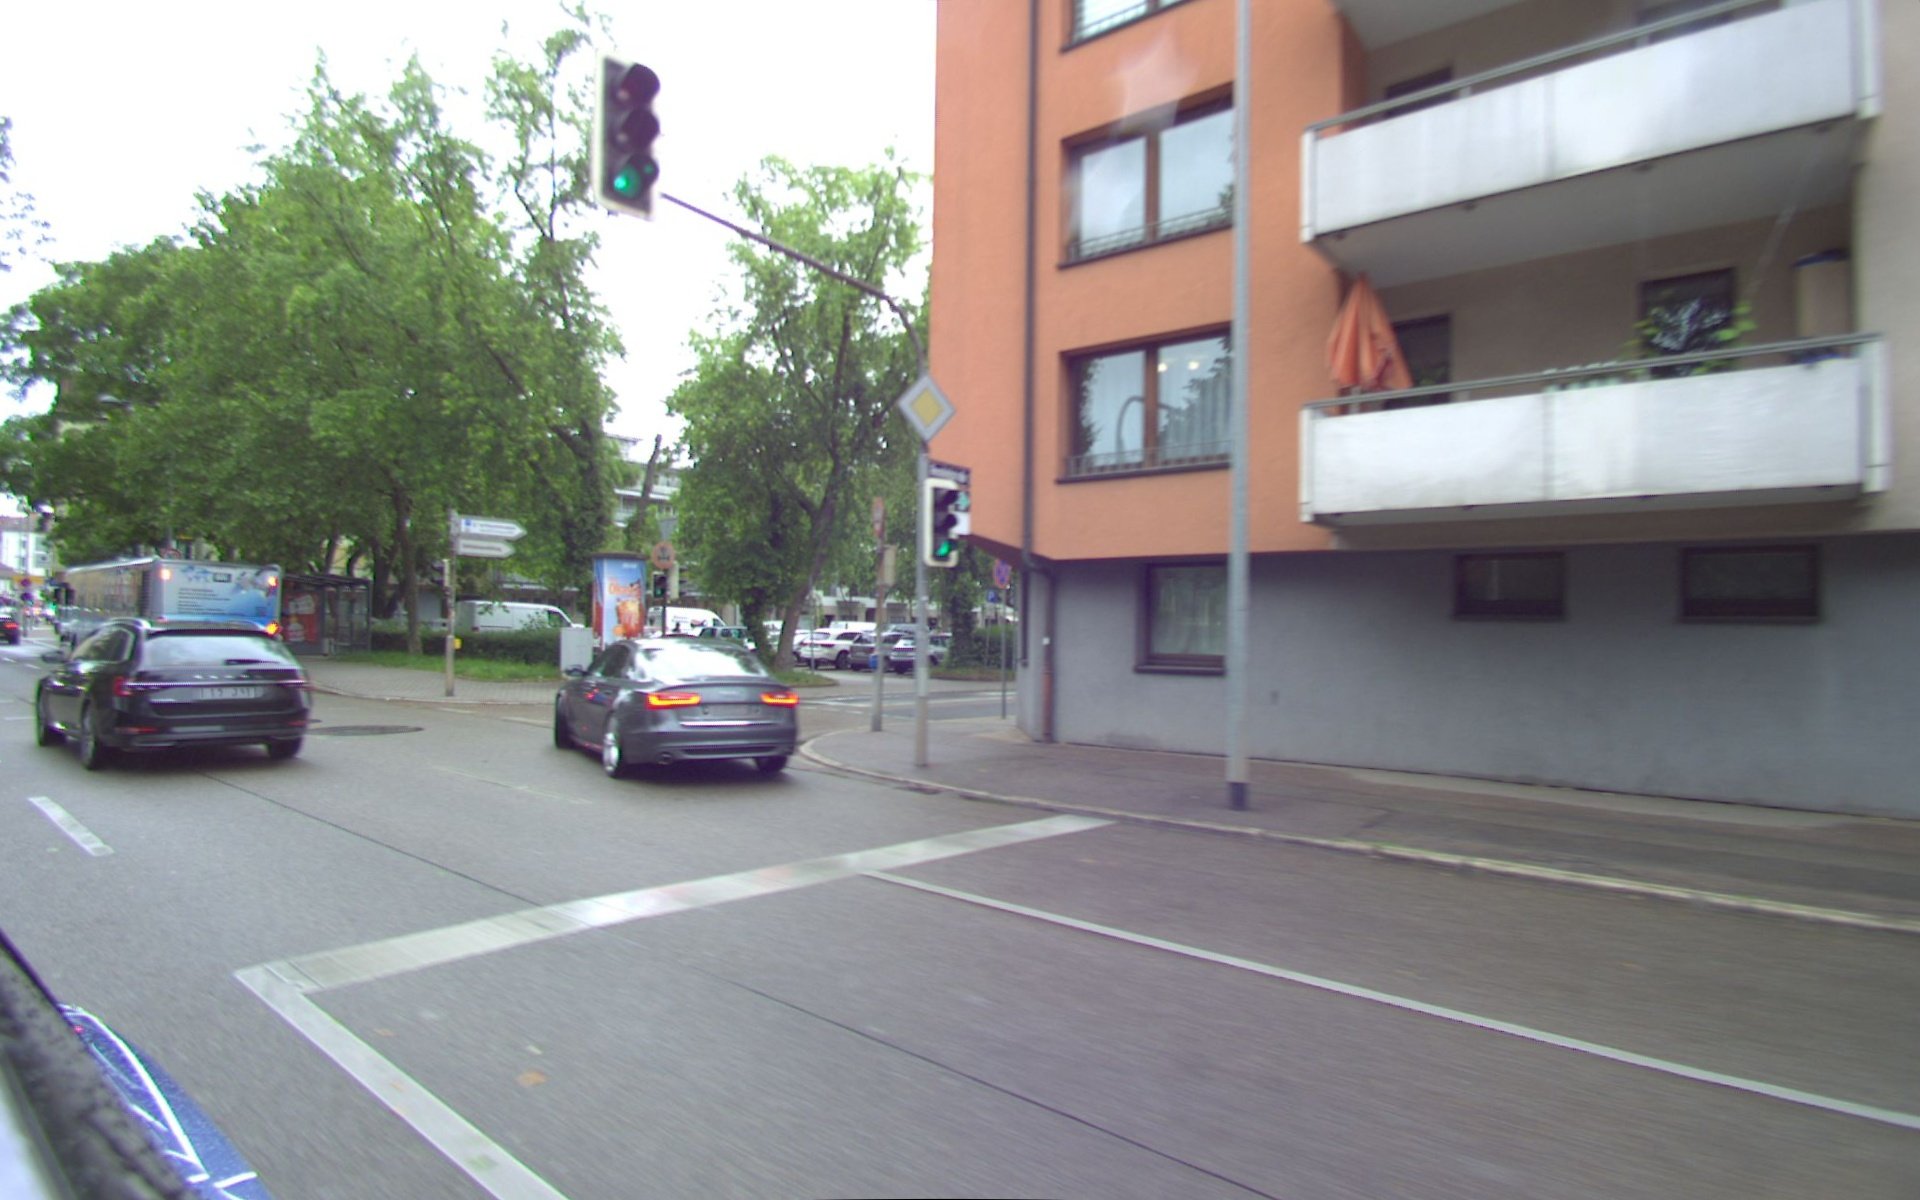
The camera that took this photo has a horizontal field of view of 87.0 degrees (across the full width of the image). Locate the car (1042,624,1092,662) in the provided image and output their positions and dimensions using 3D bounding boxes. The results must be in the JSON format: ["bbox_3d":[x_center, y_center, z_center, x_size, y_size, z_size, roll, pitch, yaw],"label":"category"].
[{"bbox_3d":[7.790,3.091,73.240,1.991,2.633,4.540,-1,-3,28],"label":"car"}]

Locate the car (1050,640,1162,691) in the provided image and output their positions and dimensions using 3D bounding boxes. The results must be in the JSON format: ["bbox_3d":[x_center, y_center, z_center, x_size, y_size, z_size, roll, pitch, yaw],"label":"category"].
[{"bbox_3d":[4.982,2.193,34.101,1.817,1.609,4.314,-2,-4,38],"label":"car"}]

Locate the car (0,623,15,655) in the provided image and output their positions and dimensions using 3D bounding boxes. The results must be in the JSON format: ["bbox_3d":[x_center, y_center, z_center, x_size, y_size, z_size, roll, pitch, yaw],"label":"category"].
[{"bbox_3d":[-48.417,1.905,50.131,4.804,1.529,1.779,-2,-5,41],"label":"car"}]

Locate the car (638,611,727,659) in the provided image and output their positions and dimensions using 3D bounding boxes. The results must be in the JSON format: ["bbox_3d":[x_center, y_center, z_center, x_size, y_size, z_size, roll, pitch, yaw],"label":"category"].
[{"bbox_3d":[-15.875,2.051,58.005,1.999,2.633,4.521,-1,-3,42],"label":"car"}]

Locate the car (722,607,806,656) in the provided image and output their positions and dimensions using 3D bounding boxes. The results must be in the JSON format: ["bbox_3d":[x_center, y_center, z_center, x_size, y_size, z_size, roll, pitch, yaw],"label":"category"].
[{"bbox_3d":[-10.997,1.800,57.124,1.995,2.633,4.531,-1,-3,34],"label":"car"}]

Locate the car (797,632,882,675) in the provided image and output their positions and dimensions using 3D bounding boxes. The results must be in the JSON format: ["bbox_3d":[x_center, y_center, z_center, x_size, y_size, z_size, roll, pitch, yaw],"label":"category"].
[{"bbox_3d":[-4.960,2.215,42.163,1.695,1.676,3.709,0,-3,27],"label":"car"}]

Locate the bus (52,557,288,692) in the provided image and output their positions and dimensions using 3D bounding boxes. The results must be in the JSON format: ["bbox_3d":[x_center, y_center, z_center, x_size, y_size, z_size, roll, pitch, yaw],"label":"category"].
[{"bbox_3d":[-21.613,0.633,27.242,12.078,2.962,2.665,0,-3,41],"label":"bus"}]

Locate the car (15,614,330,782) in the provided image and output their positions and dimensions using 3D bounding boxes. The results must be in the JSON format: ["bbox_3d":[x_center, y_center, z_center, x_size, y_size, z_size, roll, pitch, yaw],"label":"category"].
[{"bbox_3d":[-8.713,0.944,11.047,4.487,1.469,1.777,-1,-4,40],"label":"car"}]

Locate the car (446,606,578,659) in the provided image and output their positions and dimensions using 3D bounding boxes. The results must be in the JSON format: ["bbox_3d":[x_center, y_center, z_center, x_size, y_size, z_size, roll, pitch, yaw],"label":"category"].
[{"bbox_3d":[-17.110,1.278,38.836,1.701,1.937,4.280,-1,-3,38],"label":"car"}]

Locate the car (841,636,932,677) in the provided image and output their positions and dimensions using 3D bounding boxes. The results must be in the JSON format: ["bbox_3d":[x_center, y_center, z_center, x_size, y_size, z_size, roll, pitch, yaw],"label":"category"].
[{"bbox_3d":[-2.938,2.260,41.009,1.699,1.550,3.784,-1,-3,34],"label":"car"}]

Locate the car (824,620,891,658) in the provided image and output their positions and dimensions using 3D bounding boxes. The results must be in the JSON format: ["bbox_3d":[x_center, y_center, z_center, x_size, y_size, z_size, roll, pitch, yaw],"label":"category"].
[{"bbox_3d":[-7.167,2.780,71.401,1.999,2.633,4.521,-1,-3,42],"label":"car"}]

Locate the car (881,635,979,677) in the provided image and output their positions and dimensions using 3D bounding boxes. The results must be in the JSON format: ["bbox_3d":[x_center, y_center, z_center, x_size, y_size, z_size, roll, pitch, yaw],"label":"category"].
[{"bbox_3d":[-1.132,2.158,39.245,1.831,1.528,3.597,-1,-3,43],"label":"car"}]

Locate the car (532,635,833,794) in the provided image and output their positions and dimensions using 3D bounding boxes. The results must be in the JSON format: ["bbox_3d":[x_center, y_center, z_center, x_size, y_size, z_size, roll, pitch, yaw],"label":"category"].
[{"bbox_3d":[-3.417,1.156,11.690,1.789,1.426,4.819,4,-4,-35],"label":"car"}]

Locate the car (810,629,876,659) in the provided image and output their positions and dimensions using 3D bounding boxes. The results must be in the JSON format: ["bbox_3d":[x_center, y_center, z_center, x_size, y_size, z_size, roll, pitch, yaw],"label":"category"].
[{"bbox_3d":[-7.698,2.904,66.713,1.702,1.937,4.276,-1,-3,42],"label":"car"}]
